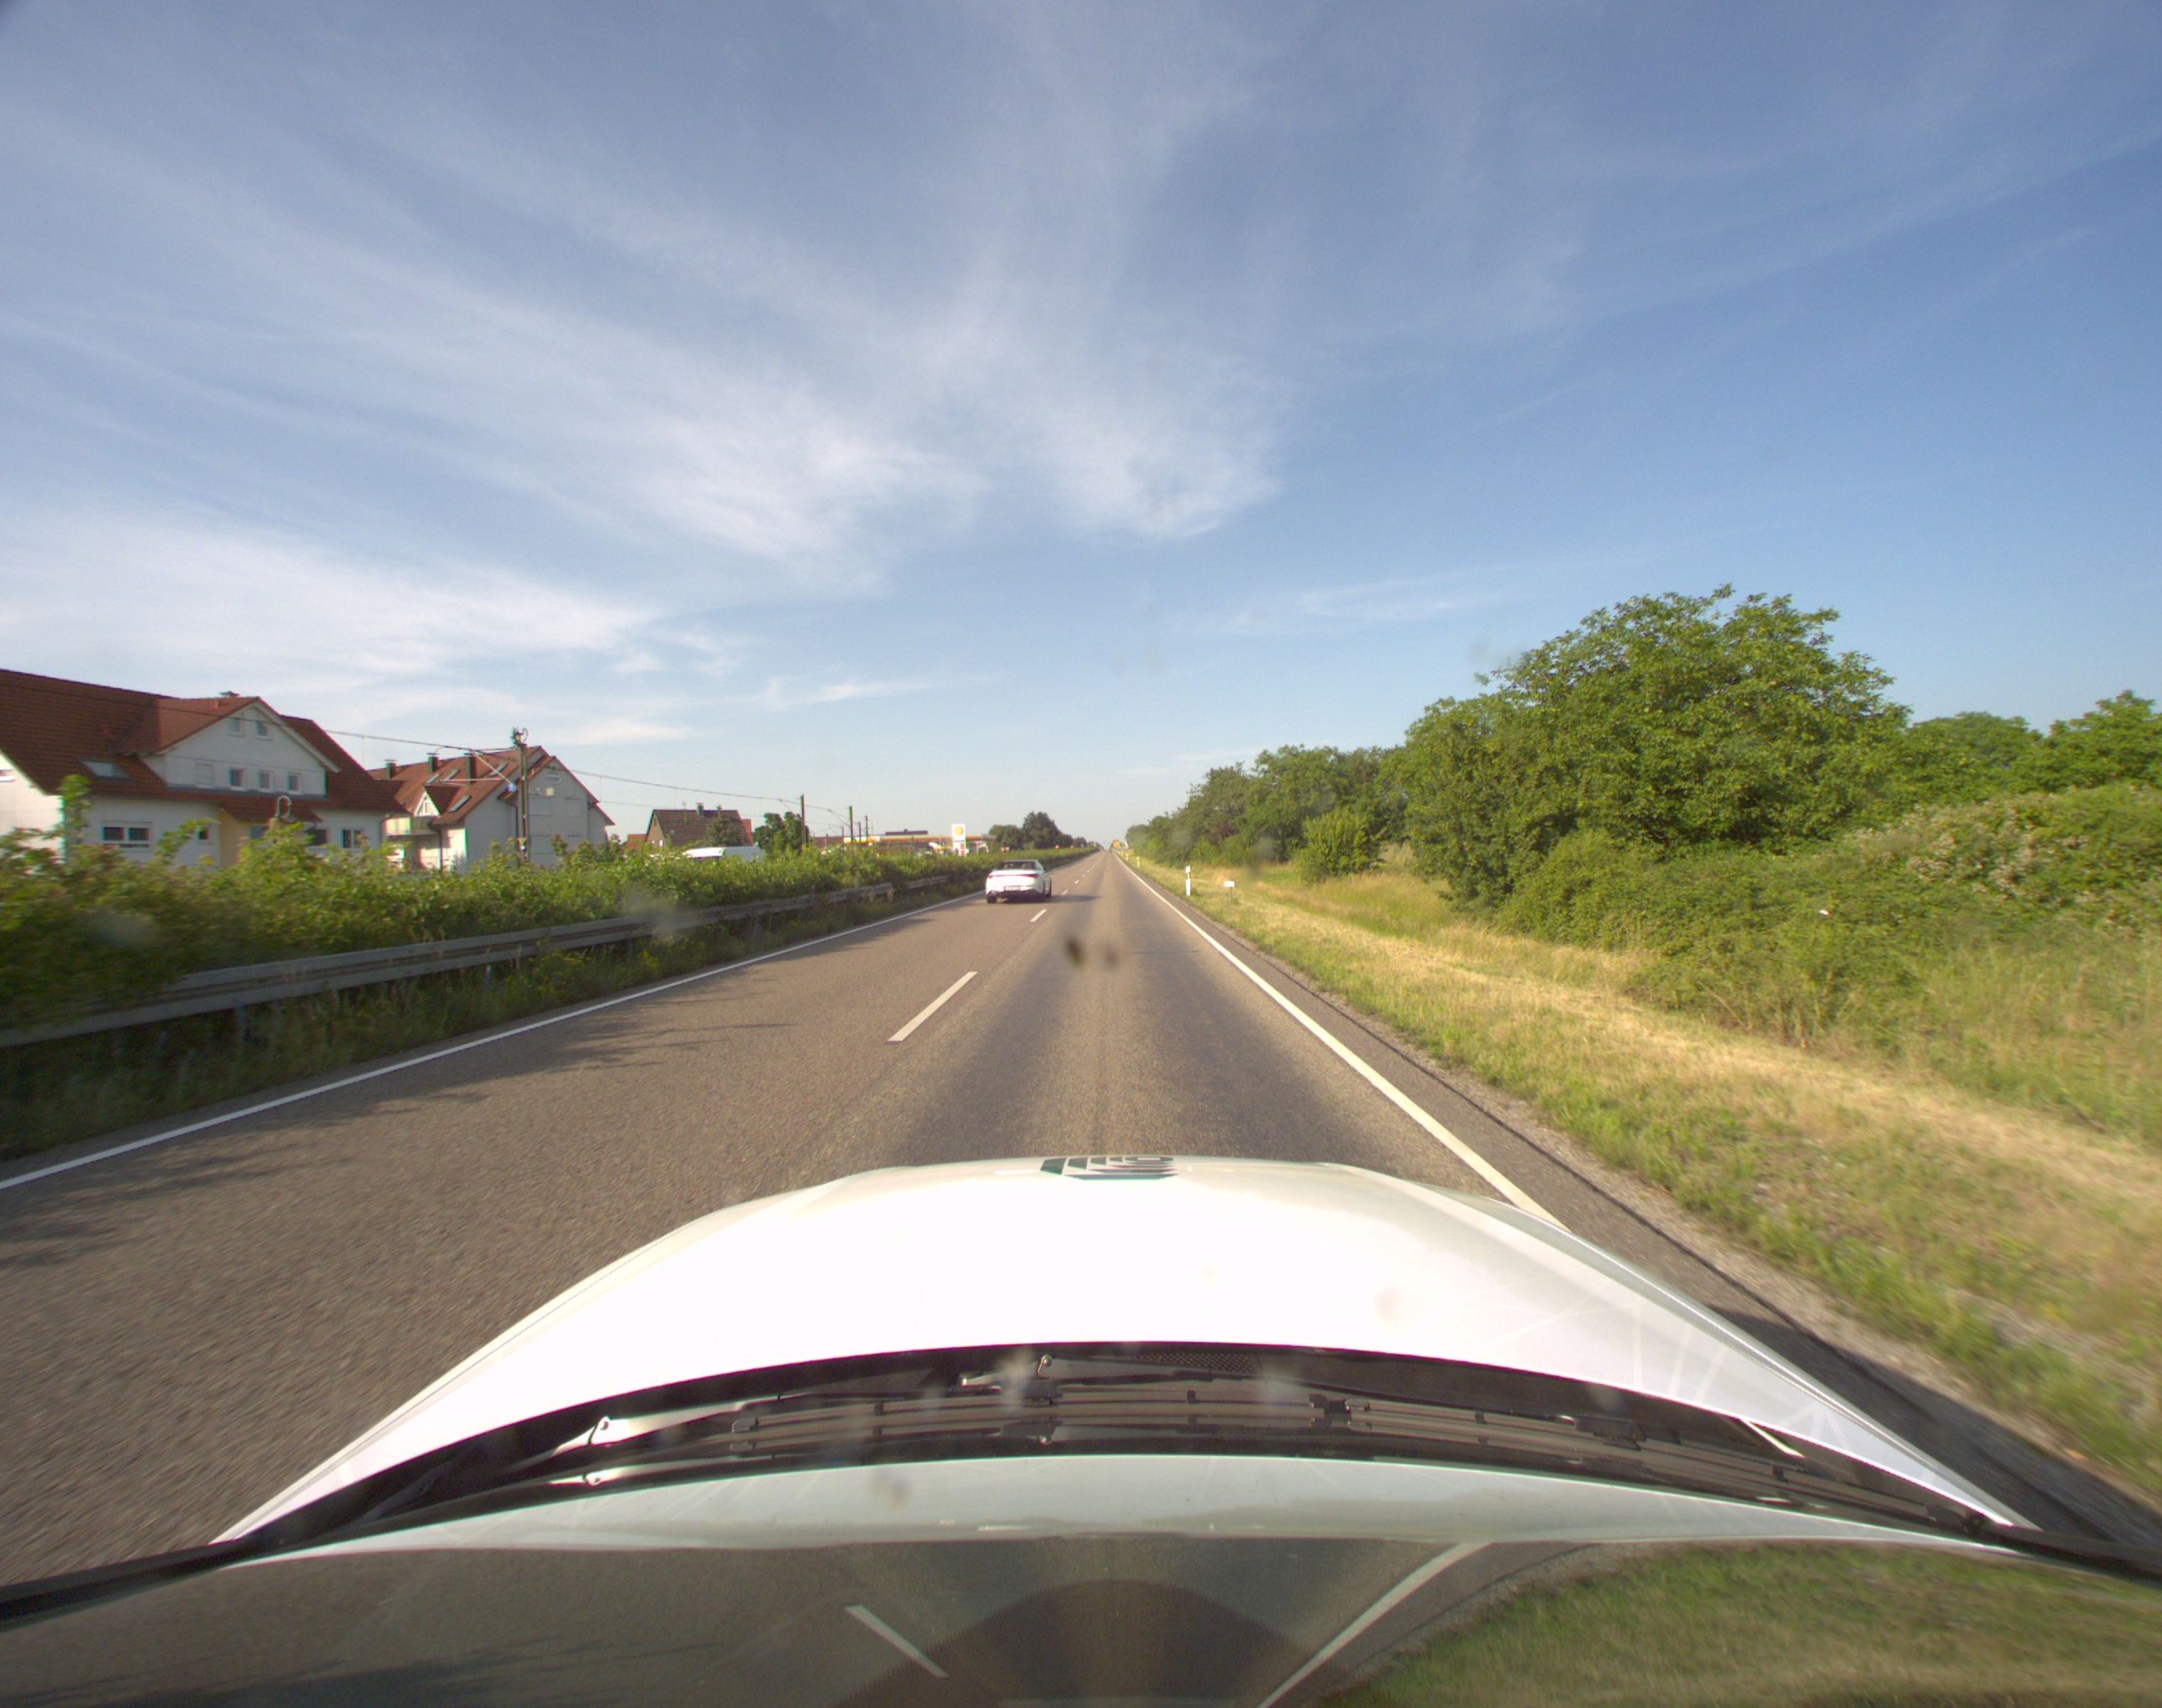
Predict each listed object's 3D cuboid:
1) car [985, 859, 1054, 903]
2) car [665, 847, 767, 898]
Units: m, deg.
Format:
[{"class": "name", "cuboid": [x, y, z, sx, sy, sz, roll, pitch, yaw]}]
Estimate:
[{"class": "car", "cuboid": [-1.968, 0.841, 27.491, 1.764, 1.337, 4.953, 0, 0, 2]}, {"class": "car", "cuboid": [-15.298, 0.739, 34.462, 1.986, 2.013, 4.873, 0, 0, 2]}]
